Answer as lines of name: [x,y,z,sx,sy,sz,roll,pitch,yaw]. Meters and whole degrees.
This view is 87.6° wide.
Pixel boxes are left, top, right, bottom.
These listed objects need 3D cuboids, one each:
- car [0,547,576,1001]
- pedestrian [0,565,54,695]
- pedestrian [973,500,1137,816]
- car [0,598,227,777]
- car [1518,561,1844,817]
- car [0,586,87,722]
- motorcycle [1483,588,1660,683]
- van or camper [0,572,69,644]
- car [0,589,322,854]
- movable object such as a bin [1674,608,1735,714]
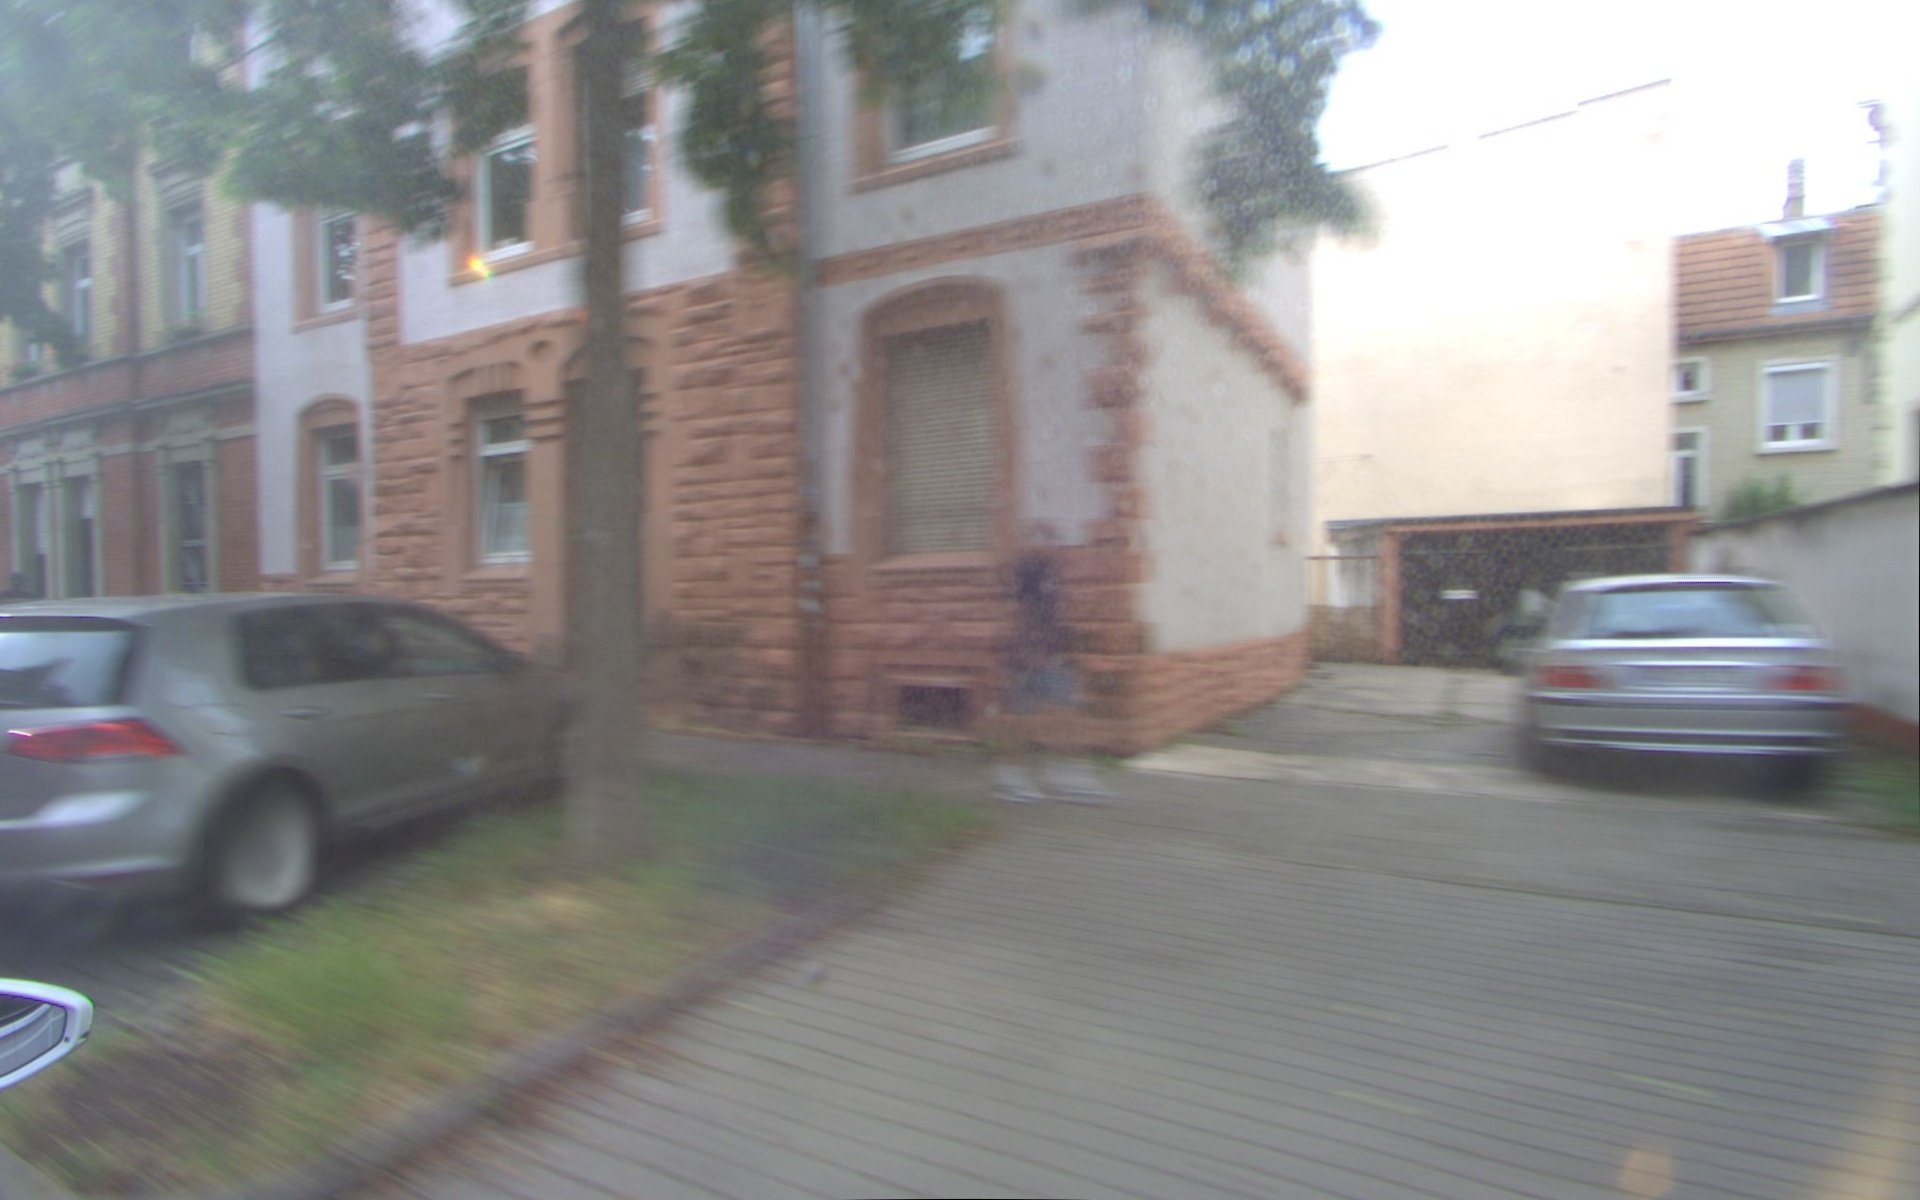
car: [-3.740,0.620,5.317,1.752,1.583,3.468,0,0,7]
pedestrian: [-13.141,0.401,13.914,0.653,1.756,0.596,0,1,28]
pedestrian: [0.605,0.342,6.320,0.805,1.836,0.700,1,0,30]
car: [-8.822,0.718,9.120,1.713,1.455,3.882,1,0,-6]
car: [5.339,0.488,7.903,1.585,1.473,3.982,0,1,29]
car: [-11.172,0.646,9.812,1.725,1.447,4.440,-1,2,-8]
motorcycle: [9.210,0.504,15.164,2.218,1.350,0.794,0,2,32]
van or camper: [-35.761,0.273,35.663,2.107,2.529,5.752,4,3,36]
car: [-6.257,0.678,6.688,1.672,1.486,3.693,0,1,-2]
movable object such as a bin: [8.165,0.652,10.997,0.470,1.126,0.403,0,1,30]
